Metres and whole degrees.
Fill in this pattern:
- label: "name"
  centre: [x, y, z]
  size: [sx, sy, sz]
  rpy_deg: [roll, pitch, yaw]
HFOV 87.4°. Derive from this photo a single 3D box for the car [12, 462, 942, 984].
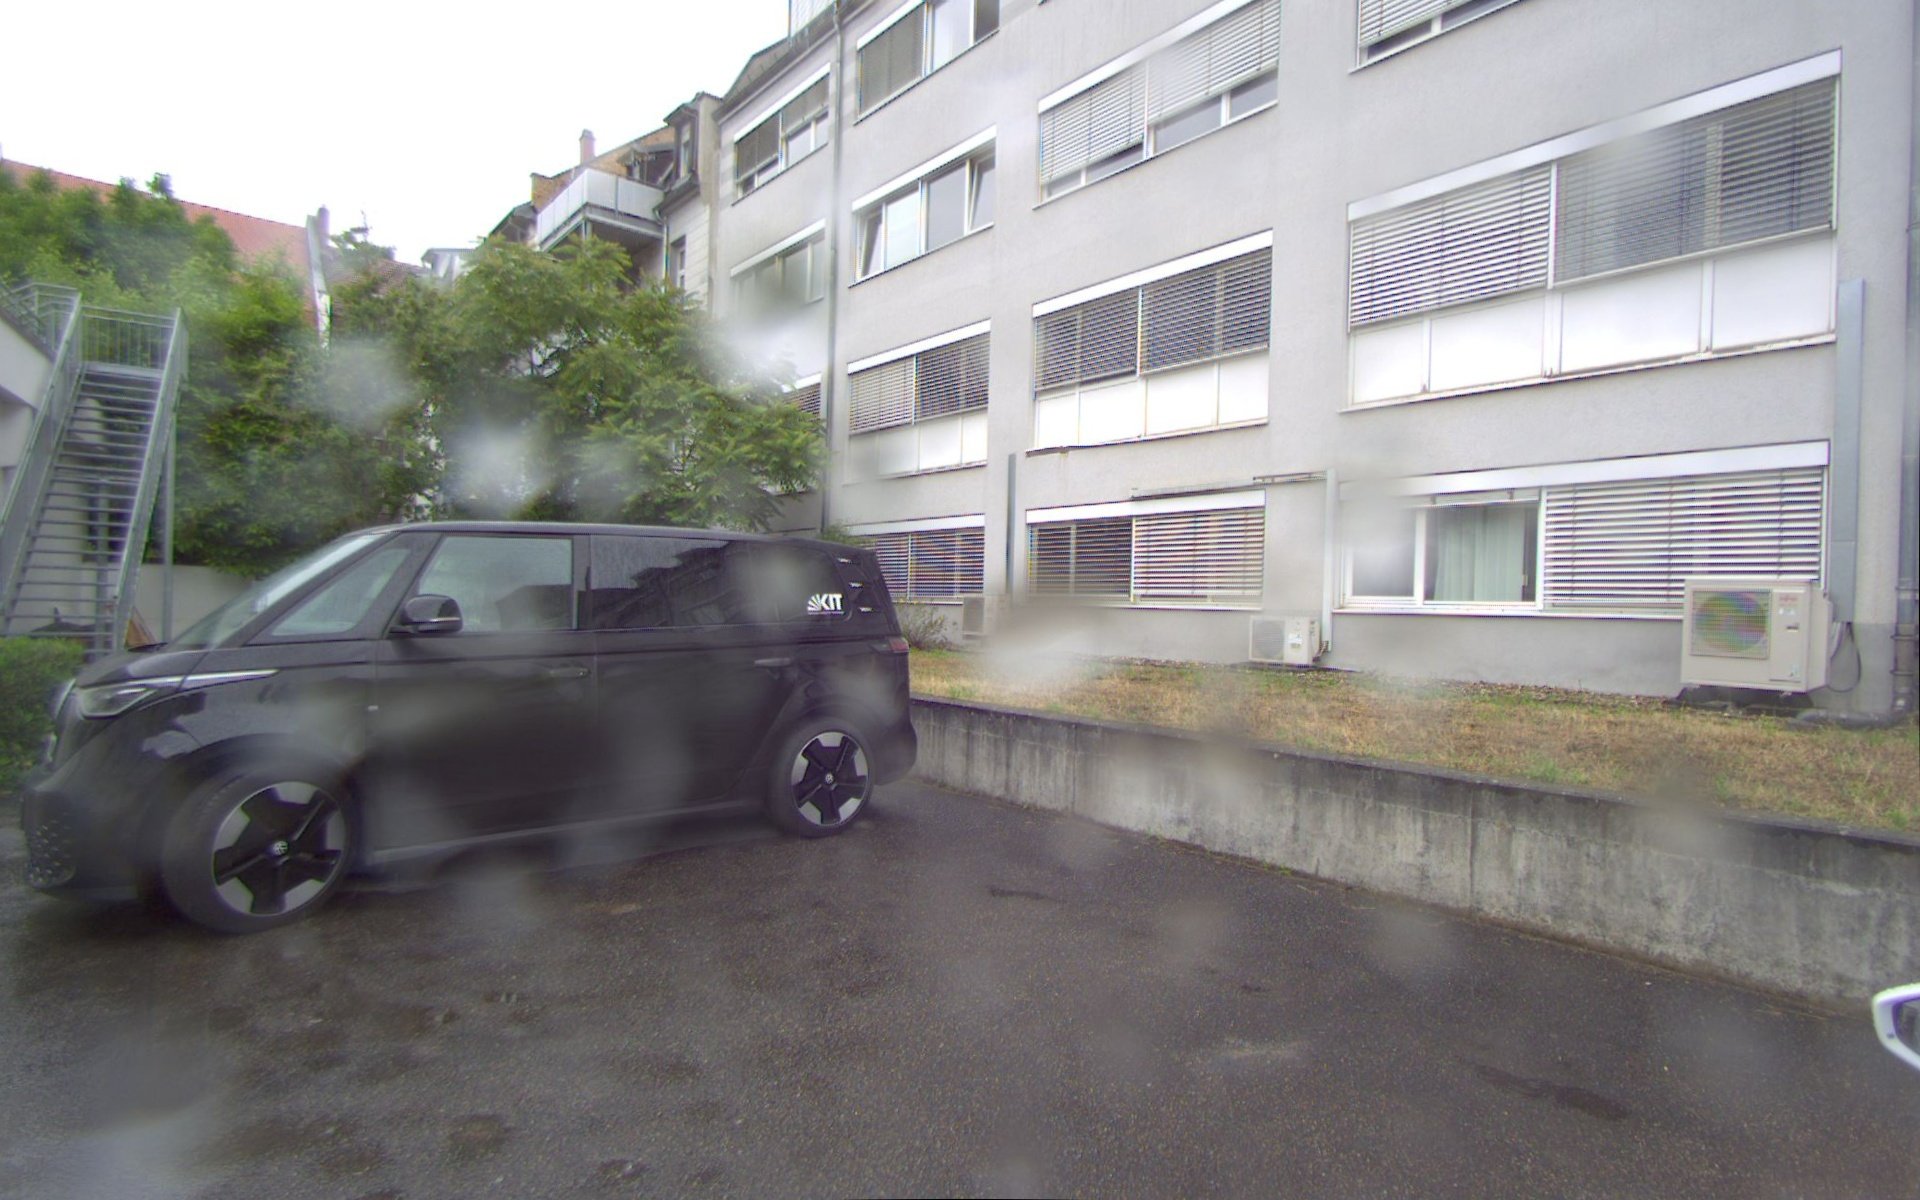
- label: "car"
  centre: [-2.464, 0.508, 5.971]
  size: [4.488, 1.922, 2.022]
  rpy_deg: [2, -1, -42]
